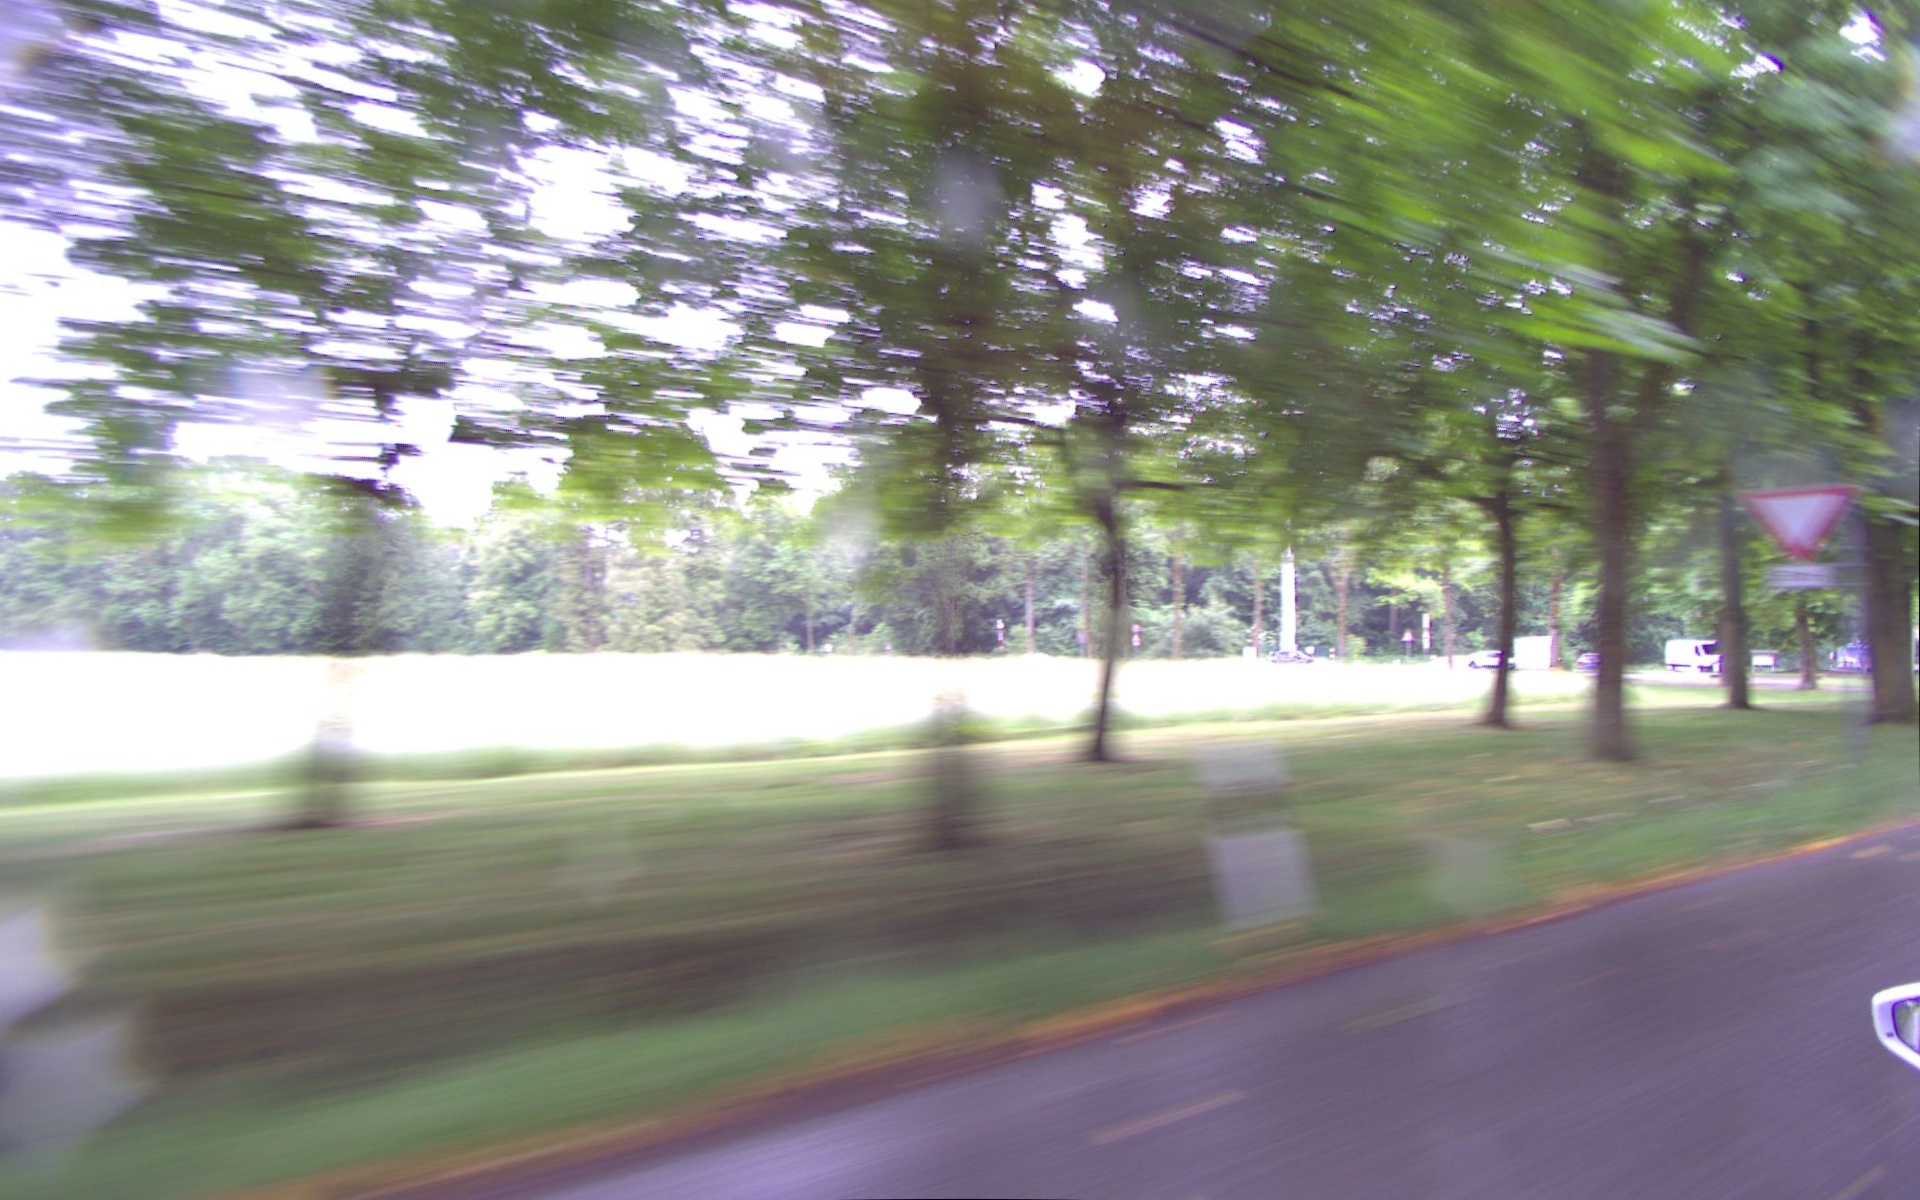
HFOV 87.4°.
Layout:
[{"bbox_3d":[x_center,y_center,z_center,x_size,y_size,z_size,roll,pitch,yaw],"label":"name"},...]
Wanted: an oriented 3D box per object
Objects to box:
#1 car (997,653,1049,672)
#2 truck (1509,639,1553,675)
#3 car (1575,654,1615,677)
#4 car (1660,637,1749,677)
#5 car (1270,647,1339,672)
[{"bbox_3d":[5.721,5.695,91.982,1.720,1.621,4.838,3,-3,-45],"label":"car"},{"bbox_3d":[40.119,3.968,70.529,1.850,2.474,3.329,-2,-3,45],"label":"truck"},{"bbox_3d":[43.207,4.433,68.317,1.743,1.448,4.087,-2,-3,41],"label":"car"},{"bbox_3d":[49.317,3.767,66.732,2.344,2.439,5.990,2,-3,11],"label":"car"},{"bbox_3d":[25.352,4.389,74.032,1.720,1.731,4.515,2,-4,-45],"label":"car"}]
